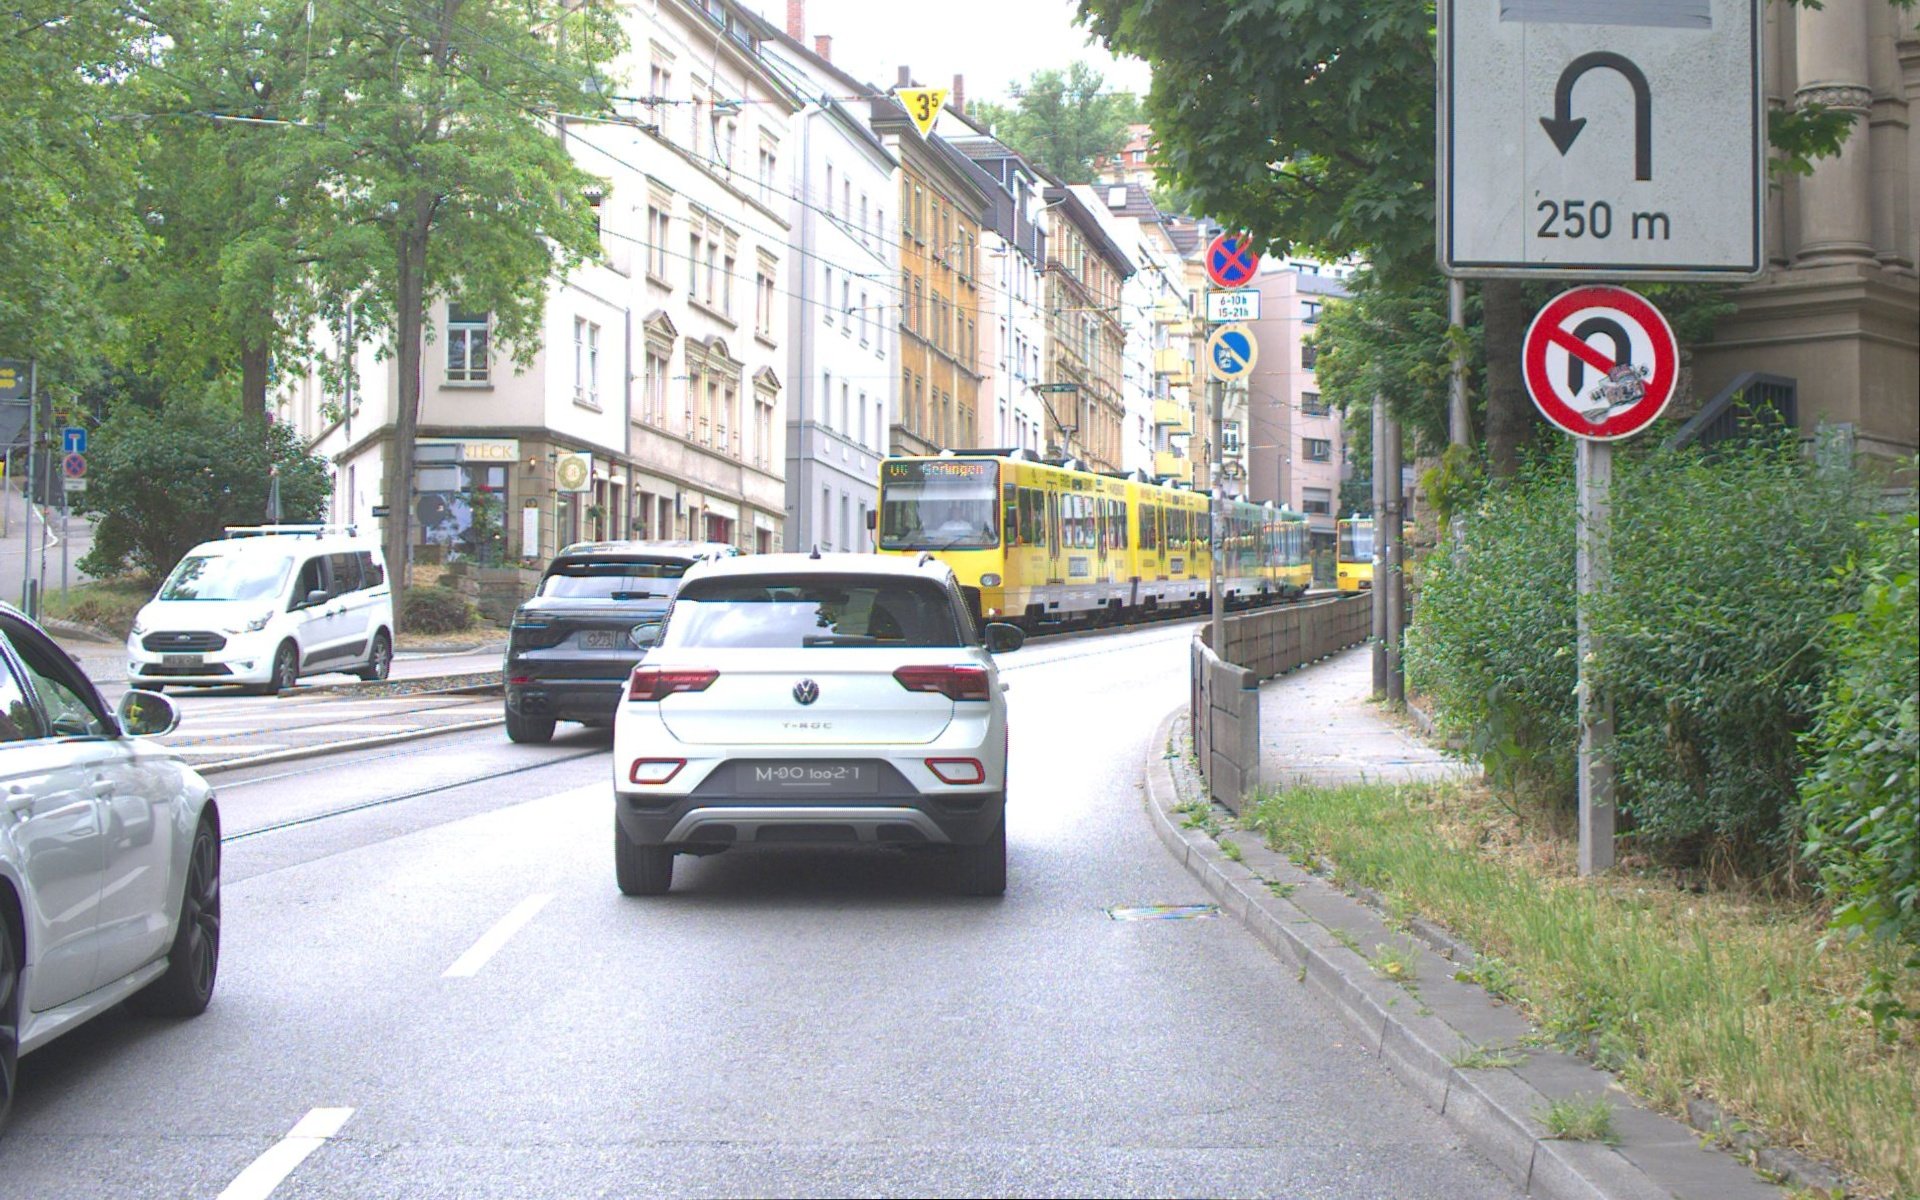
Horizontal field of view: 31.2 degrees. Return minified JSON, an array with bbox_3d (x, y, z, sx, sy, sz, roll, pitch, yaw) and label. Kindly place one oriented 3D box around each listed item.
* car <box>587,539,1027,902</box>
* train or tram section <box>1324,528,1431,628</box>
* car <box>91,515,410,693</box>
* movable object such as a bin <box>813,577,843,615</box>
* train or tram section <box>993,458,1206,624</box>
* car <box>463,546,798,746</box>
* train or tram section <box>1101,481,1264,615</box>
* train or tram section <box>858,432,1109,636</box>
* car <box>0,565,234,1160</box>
[{"bbox_3d":[-0.728,0.496,16.691,1.878,1.549,4.000,0,1,-2],"label":"car"},{"bbox_3d":[18.802,-1.014,153.727,3.018,4.199,18.849,0,0,12],"label":"train or tram section"},{"bbox_3d":[-8.176,-0.005,40.147,1.948,1.939,5.000,0,1,10],"label":"car"},{"bbox_3d":[-3.761,-0.108,98.194,0.743,1.070,0.606,0,0,11],"label":"movable object such as a bin"},{"bbox_3d":[3.828,-1.418,87.558,2.877,3.713,18.695,2,1,10],"label":"train or tram section"},{"bbox_3d":[-2.692,0.340,29.168,2.038,1.566,4.357,0,1,5],"label":"car"},{"bbox_3d":[7.067,-1.543,105.997,2.877,3.713,18.748,2,1,10],"label":"train or tram section"},{"bbox_3d":[0.741,-1.293,71.082,2.883,3.713,14.850,2,1,9],"label":"train or tram section"},{"bbox_3d":[-3.348,0.636,9.547,1.878,1.450,4.618,0,1,-3],"label":"car"}]
